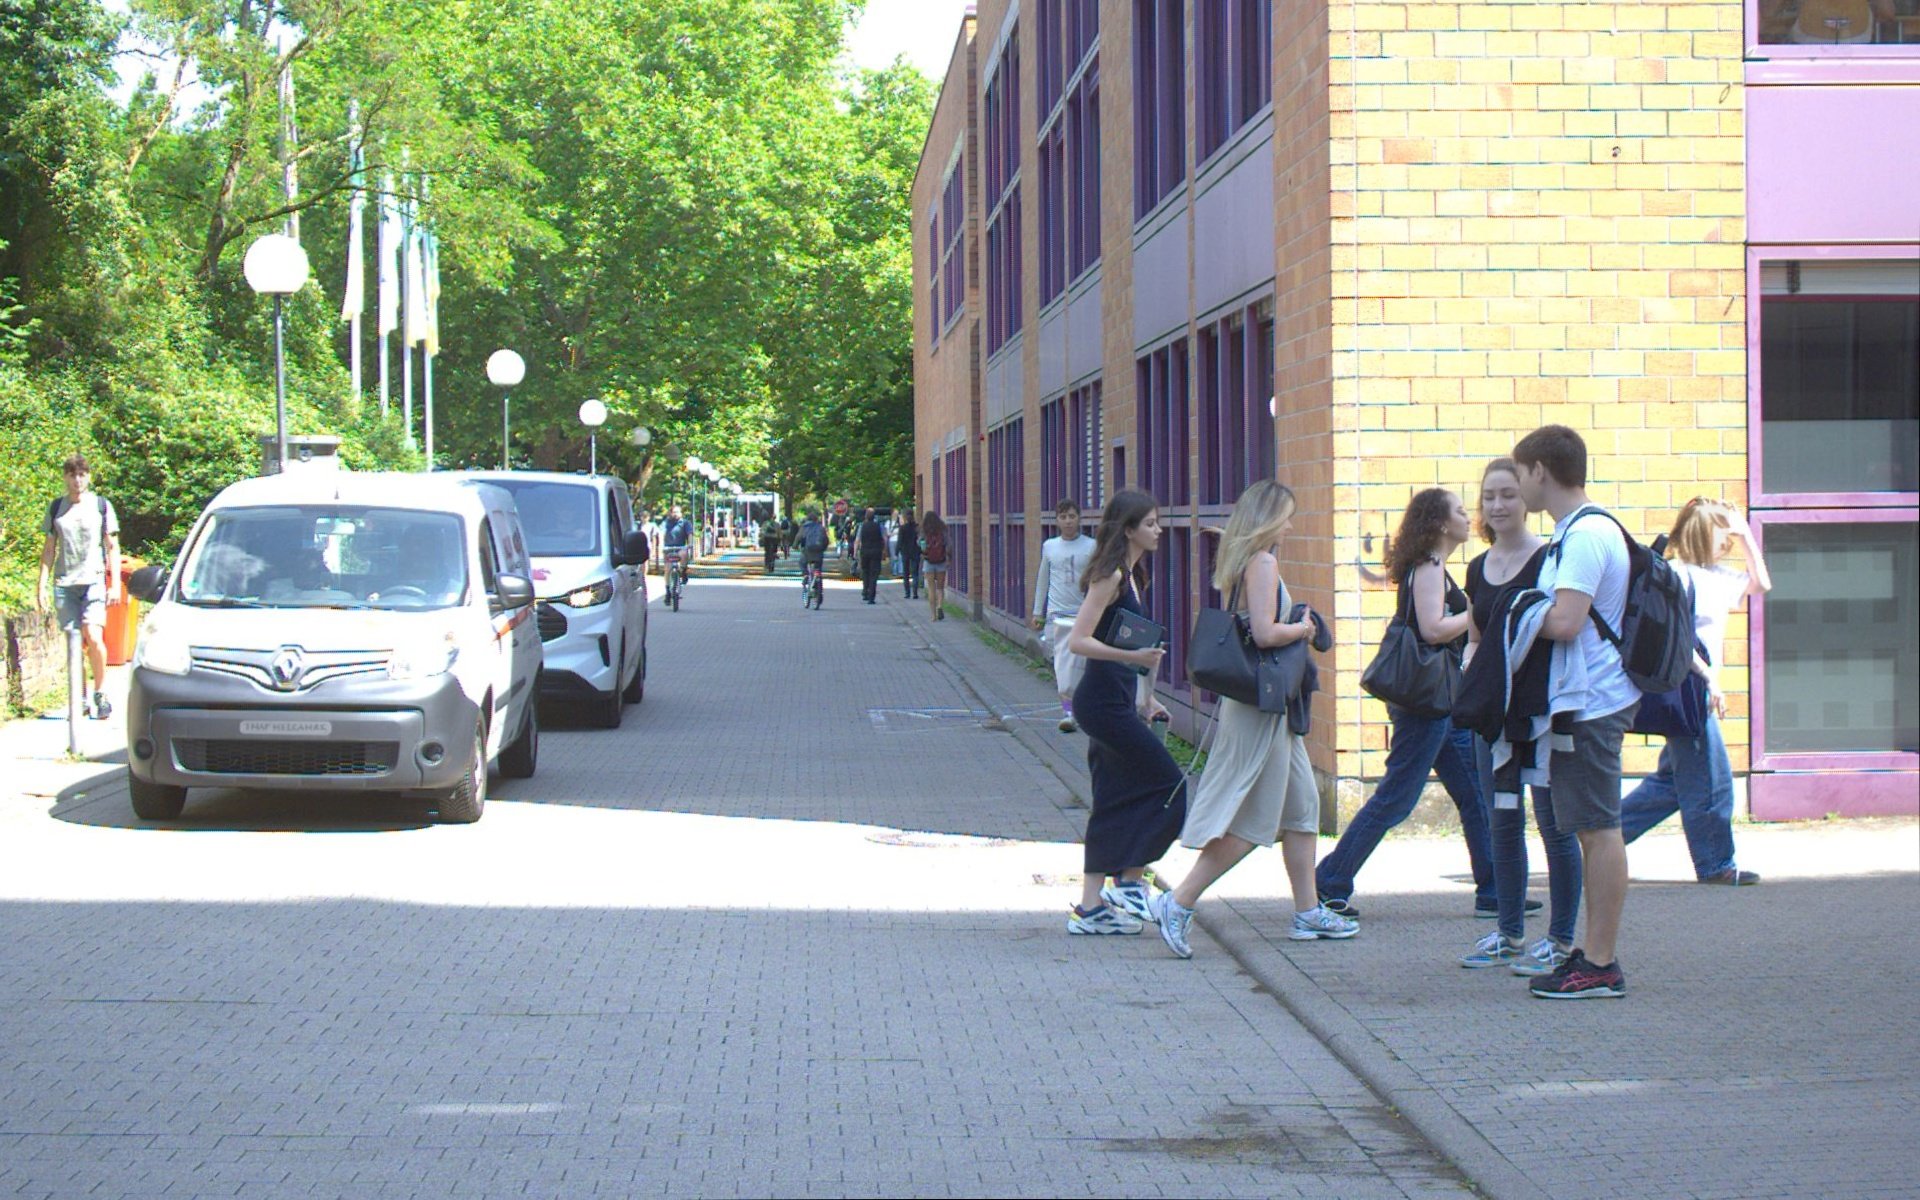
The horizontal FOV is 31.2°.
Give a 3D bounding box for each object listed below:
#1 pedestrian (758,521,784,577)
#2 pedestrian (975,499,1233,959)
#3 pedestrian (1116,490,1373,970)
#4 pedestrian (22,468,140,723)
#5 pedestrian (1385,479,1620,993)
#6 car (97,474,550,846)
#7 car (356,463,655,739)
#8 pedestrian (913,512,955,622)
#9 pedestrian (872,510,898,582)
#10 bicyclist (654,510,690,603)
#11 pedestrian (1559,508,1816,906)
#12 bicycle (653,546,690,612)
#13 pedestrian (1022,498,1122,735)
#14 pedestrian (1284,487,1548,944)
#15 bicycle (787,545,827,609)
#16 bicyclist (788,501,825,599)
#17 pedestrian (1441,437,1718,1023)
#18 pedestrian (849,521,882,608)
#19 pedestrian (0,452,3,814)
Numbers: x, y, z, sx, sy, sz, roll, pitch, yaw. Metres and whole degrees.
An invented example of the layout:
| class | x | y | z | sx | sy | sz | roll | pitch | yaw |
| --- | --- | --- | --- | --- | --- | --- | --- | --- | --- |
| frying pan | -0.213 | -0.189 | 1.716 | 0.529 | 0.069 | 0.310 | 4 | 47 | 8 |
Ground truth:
| class | x | y | z | sx | sy | sz | roll | pitch | yaw |
| --- | --- | --- | --- | --- | --- | --- | --- | --- | --- |
| pedestrian | -5.759 | -1.553 | 104.663 | 0.725 | 1.667 | 0.748 | -2 | 0 | -1 |
| pedestrian | 0.557 | 0.473 | 13.027 | 0.886 | 1.666 | 0.643 | -2 | 2 | 5 |
| pedestrian | 1.015 | 0.448 | 12.262 | 0.886 | 1.667 | 0.559 | 0 | 0 | 5 |
| pedestrian | -6.429 | -0.034 | 25.176 | 0.682 | 1.838 | 0.783 | 0 | 0 | -2 |
| pedestrian | 1.811 | 0.446 | 11.550 | 0.697 | 1.667 | 0.588 | -2 | 0 | 5 |
| car | -3.314 | 0.232 | 18.712 | 1.790 | 1.755 | 4.482 | -1 | 1 | -2 |
| car | -3.489 | -0.060 | 27.258 | 1.883 | 1.967 | 5.215 | 0 | 1 | -2 |
| pedestrian | -0.402 | -0.504 | 53.140 | 0.586 | 1.667 | 0.699 | -2 | 0 | -1 |
| pedestrian | -2.004 | -1.447 | 92.039 | 0.653 | 1.915 | 0.817 | -2 | 0 | -1 |
| bicyclist | -4.902 | -0.743 | 58.401 | 0.587 | 1.567 | 0.829 | 0 | 1 | -6 |
| pedestrian | 2.935 | 0.416 | 13.940 | 0.886 | 1.537 | 0.743 | -2 | 2 | 5 |
| bicycle | -4.916 | -0.367 | 58.540 | 0.587 | 1.080 | 1.814 | 0 | 1 | -6 |
| pedestrian | 0.832 | 0.119 | 25.653 | 0.682 | 1.741 | 0.783 | 0 | 0 | -2 |
| pedestrian | 1.702 | 0.426 | 12.926 | 0.929 | 1.667 | 0.588 | -1 | 0 | 5 |
| bicycle | -2.687 | -0.415 | 60.255 | 0.587 | 1.080 | 1.908 | 0 | 1 | -6 |
| bicyclist | -2.692 | -0.874 | 60.260 | 0.587 | 1.710 | 0.665 | 0 | 1 | -6 |
| pedestrian | 1.948 | 0.403 | 10.886 | 0.767 | 1.788 | 0.588 | -2 | 0 | 5 |
| pedestrian | -1.834 | -0.687 | 66.763 | 0.586 | 1.667 | 0.817 | -2 | 0 | -1 |
| pedestrian | -5.204 | 0.169 | 17.118 | 0.682 | 1.838 | 0.783 | 0 | 0 | -2 |
